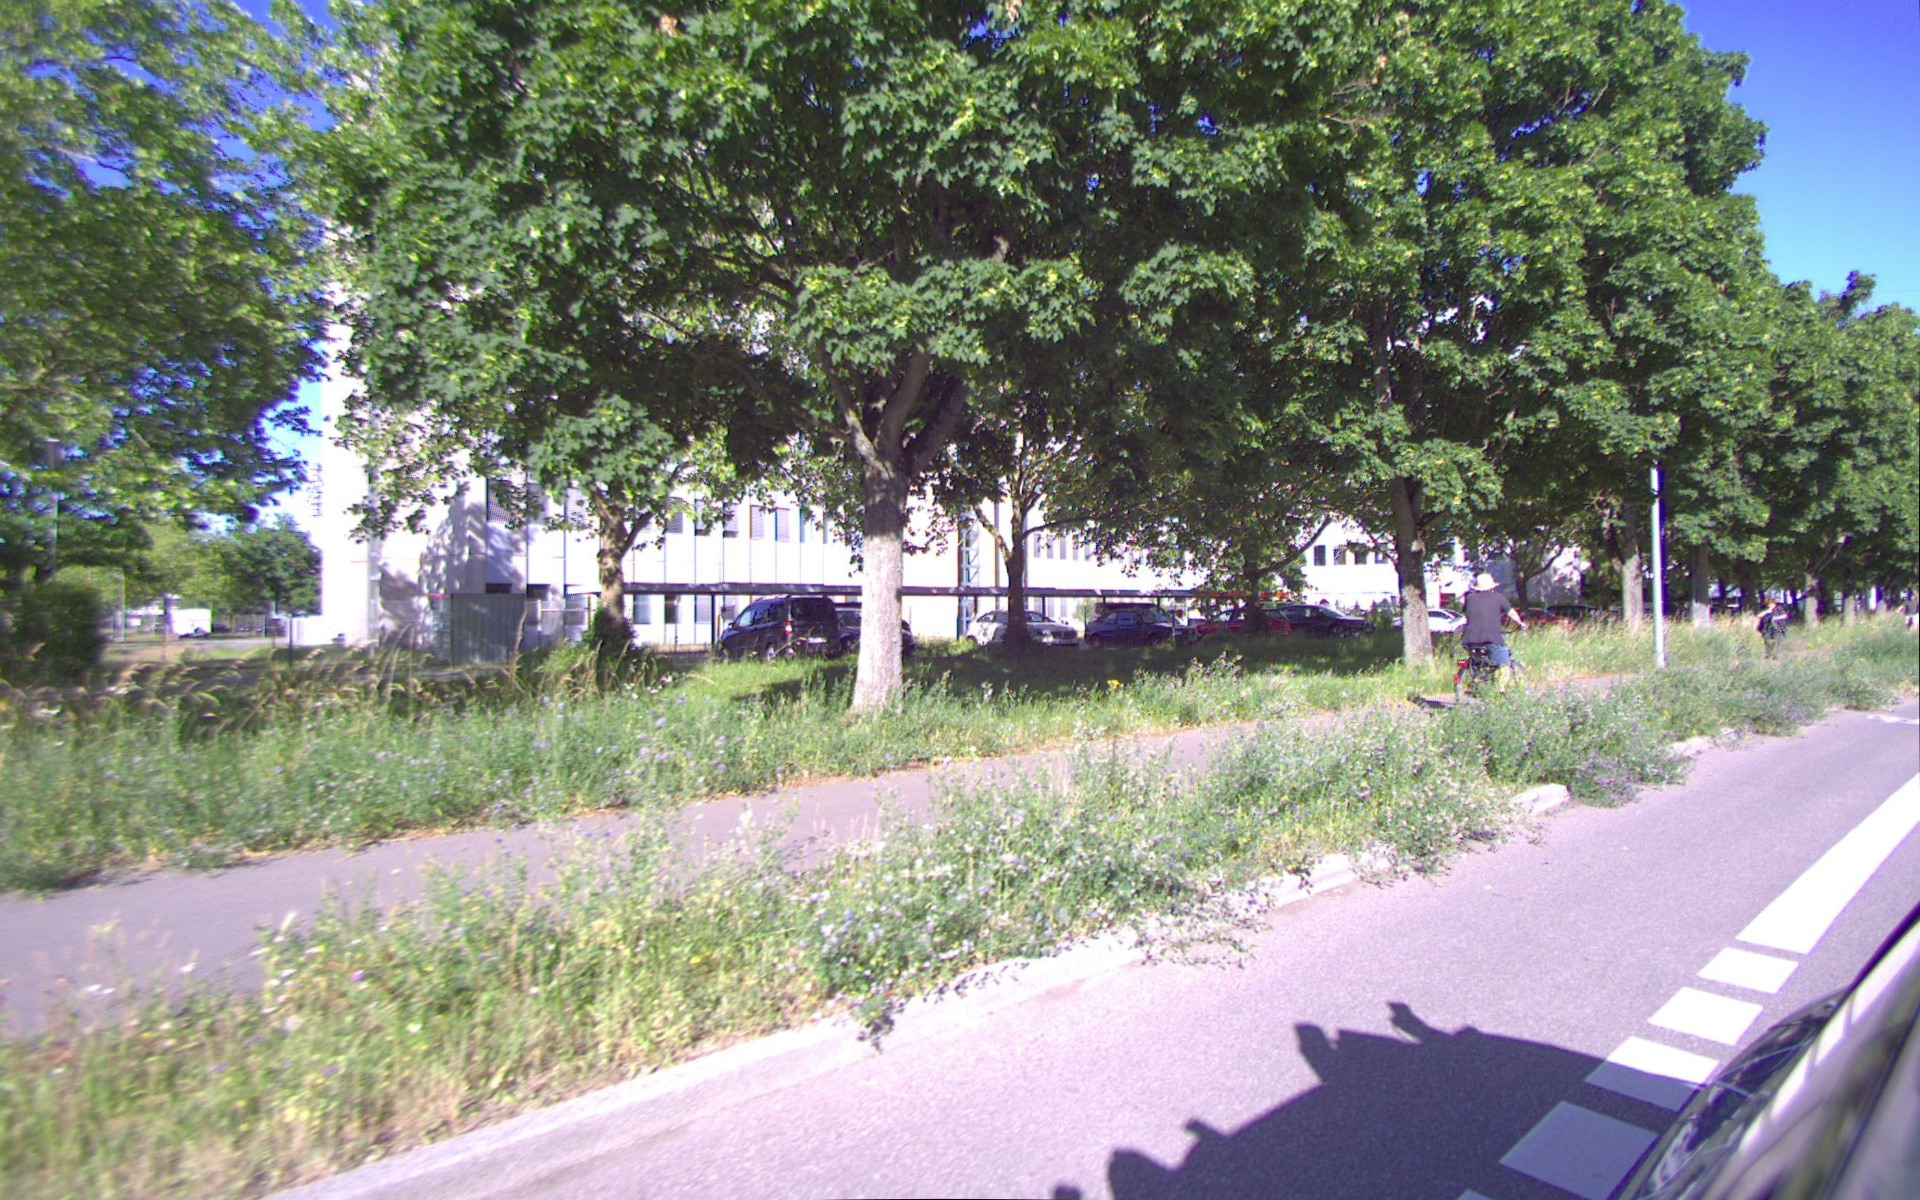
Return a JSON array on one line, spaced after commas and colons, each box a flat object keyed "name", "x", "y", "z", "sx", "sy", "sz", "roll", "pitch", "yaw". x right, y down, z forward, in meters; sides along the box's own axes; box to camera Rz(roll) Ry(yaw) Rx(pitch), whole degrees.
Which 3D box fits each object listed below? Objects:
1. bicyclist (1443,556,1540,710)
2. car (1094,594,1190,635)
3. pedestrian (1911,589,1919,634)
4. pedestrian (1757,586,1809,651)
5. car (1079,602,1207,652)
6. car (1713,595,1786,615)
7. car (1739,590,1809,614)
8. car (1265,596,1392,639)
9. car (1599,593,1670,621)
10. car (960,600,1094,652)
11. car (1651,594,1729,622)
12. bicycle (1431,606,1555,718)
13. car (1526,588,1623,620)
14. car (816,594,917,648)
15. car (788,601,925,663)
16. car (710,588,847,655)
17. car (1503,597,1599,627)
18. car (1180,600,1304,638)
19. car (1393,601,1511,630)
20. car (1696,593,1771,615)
[{"name": "bicyclist", "x": 6.272, "y": 0.369, "z": 11.949, "sx": 0.886, "sy": 1.742, "sz": 0.684, "roll": -1, "pitch": -1, "yaw": -39}, {"name": "car", "x": 9.204, "y": 0.728, "z": 51.545, "sx": 1.938, "sy": 1.975, "sz": 4.759, "roll": 1, "pitch": -1, "yaw": -39}, {"name": "pedestrian", "x": 42.629, "y": 0.504, "z": 44.667, "sx": 0.801, "sy": 1.955, "sz": 0.710, "roll": 0, "pitch": -2, "yaw": -34}, {"name": "pedestrian", "x": 20.751, "y": 0.464, "z": 25.531, "sx": 0.748, "sy": 1.589, "sz": 0.826, "roll": 0, "pitch": -2, "yaw": -38}, {"name": "car", "x": 5.956, "y": 0.863, "z": 33.276, "sx": 1.677, "sy": 1.545, "sz": 4.000, "roll": 0, "pitch": -1, "yaw": -41}, {"name": "car", "x": 60.056, "y": 0.384, "z": 77.054, "sx": 1.812, "sy": 1.467, "sz": 4.551, "roll": -1, "pitch": -1, "yaw": -3}, {"name": "car", "x": 67.651, "y": 0.229, "z": 84.196, "sx": 2.044, "sy": 1.900, "sz": 5.175, "roll": -1, "pitch": -1, "yaw": 7}, {"name": "car", "x": 14.643, "y": 0.689, "z": 40.409, "sx": 1.851, "sy": 1.617, "sz": 4.397, "roll": 0, "pitch": -1, "yaw": -41}, {"name": "car", "x": 41.534, "y": 0.459, "z": 62.402, "sx": 1.691, "sy": 1.660, "sz": 3.985, "roll": -1, "pitch": -1, "yaw": 1}, {"name": "car", "x": 1.934, "y": 0.776, "z": 30.508, "sx": 1.790, "sy": 1.450, "sz": 4.177, "roll": 0, "pitch": -1, "yaw": -35}, {"name": "car", "x": 48.325, "y": 0.531, "z": 67.157, "sx": 1.887, "sy": 1.774, "sz": 5.441, "roll": -1, "pitch": -1, "yaw": 9}, {"name": "bicycle", "x": 6.322, "y": 0.686, "z": 11.958, "sx": 2.105, "sy": 1.220, "sz": 0.484, "roll": 0, "pitch": -1, "yaw": -39}, {"name": "car", "x": 34.015, "y": 0.214, "z": 56.086, "sx": 4.332, "sy": 1.722, "sz": 1.739, "roll": 0, "pitch": 0, "yaw": 43}, {"name": "car", "x": -3.825, "y": 0.826, "z": 40.594, "sx": 1.921, "sy": 2.039, "sz": 4.598, "roll": 0, "pitch": -1, "yaw": -37}, {"name": "car", "x": -2.807, "y": 0.792, "z": 26.533, "sx": 1.657, "sy": 1.477, "sz": 4.370, "roll": 0, "pitch": -1, "yaw": -35}, {"name": "car", "x": -4.596, "y": 0.505, "z": 25.251, "sx": 1.706, "sy": 1.524, "sz": 4.039, "roll": 0, "pitch": -1, "yaw": -38}, {"name": "car", "x": 31.902, "y": 0.642, "z": 54.664, "sx": 4.228, "sy": 1.555, "sz": 1.739, "roll": 0, "pitch": 0, "yaw": 43}, {"name": "car", "x": 10.527, "y": 0.707, "z": 38.004, "sx": 1.902, "sy": 1.341, "sz": 4.307, "roll": 1, "pitch": -1, "yaw": -34}, {"name": "car", "x": 23.193, "y": 0.720, "z": 47.838, "sx": 1.775, "sy": 1.287, "sz": 4.705, "roll": 1, "pitch": -1, "yaw": -41}, {"name": "car", "x": 57.003, "y": 0.346, "z": 74.670, "sx": 1.812, "sy": 1.535, "sz": 4.551, "roll": -1, "pitch": -1, "yaw": -3}]
